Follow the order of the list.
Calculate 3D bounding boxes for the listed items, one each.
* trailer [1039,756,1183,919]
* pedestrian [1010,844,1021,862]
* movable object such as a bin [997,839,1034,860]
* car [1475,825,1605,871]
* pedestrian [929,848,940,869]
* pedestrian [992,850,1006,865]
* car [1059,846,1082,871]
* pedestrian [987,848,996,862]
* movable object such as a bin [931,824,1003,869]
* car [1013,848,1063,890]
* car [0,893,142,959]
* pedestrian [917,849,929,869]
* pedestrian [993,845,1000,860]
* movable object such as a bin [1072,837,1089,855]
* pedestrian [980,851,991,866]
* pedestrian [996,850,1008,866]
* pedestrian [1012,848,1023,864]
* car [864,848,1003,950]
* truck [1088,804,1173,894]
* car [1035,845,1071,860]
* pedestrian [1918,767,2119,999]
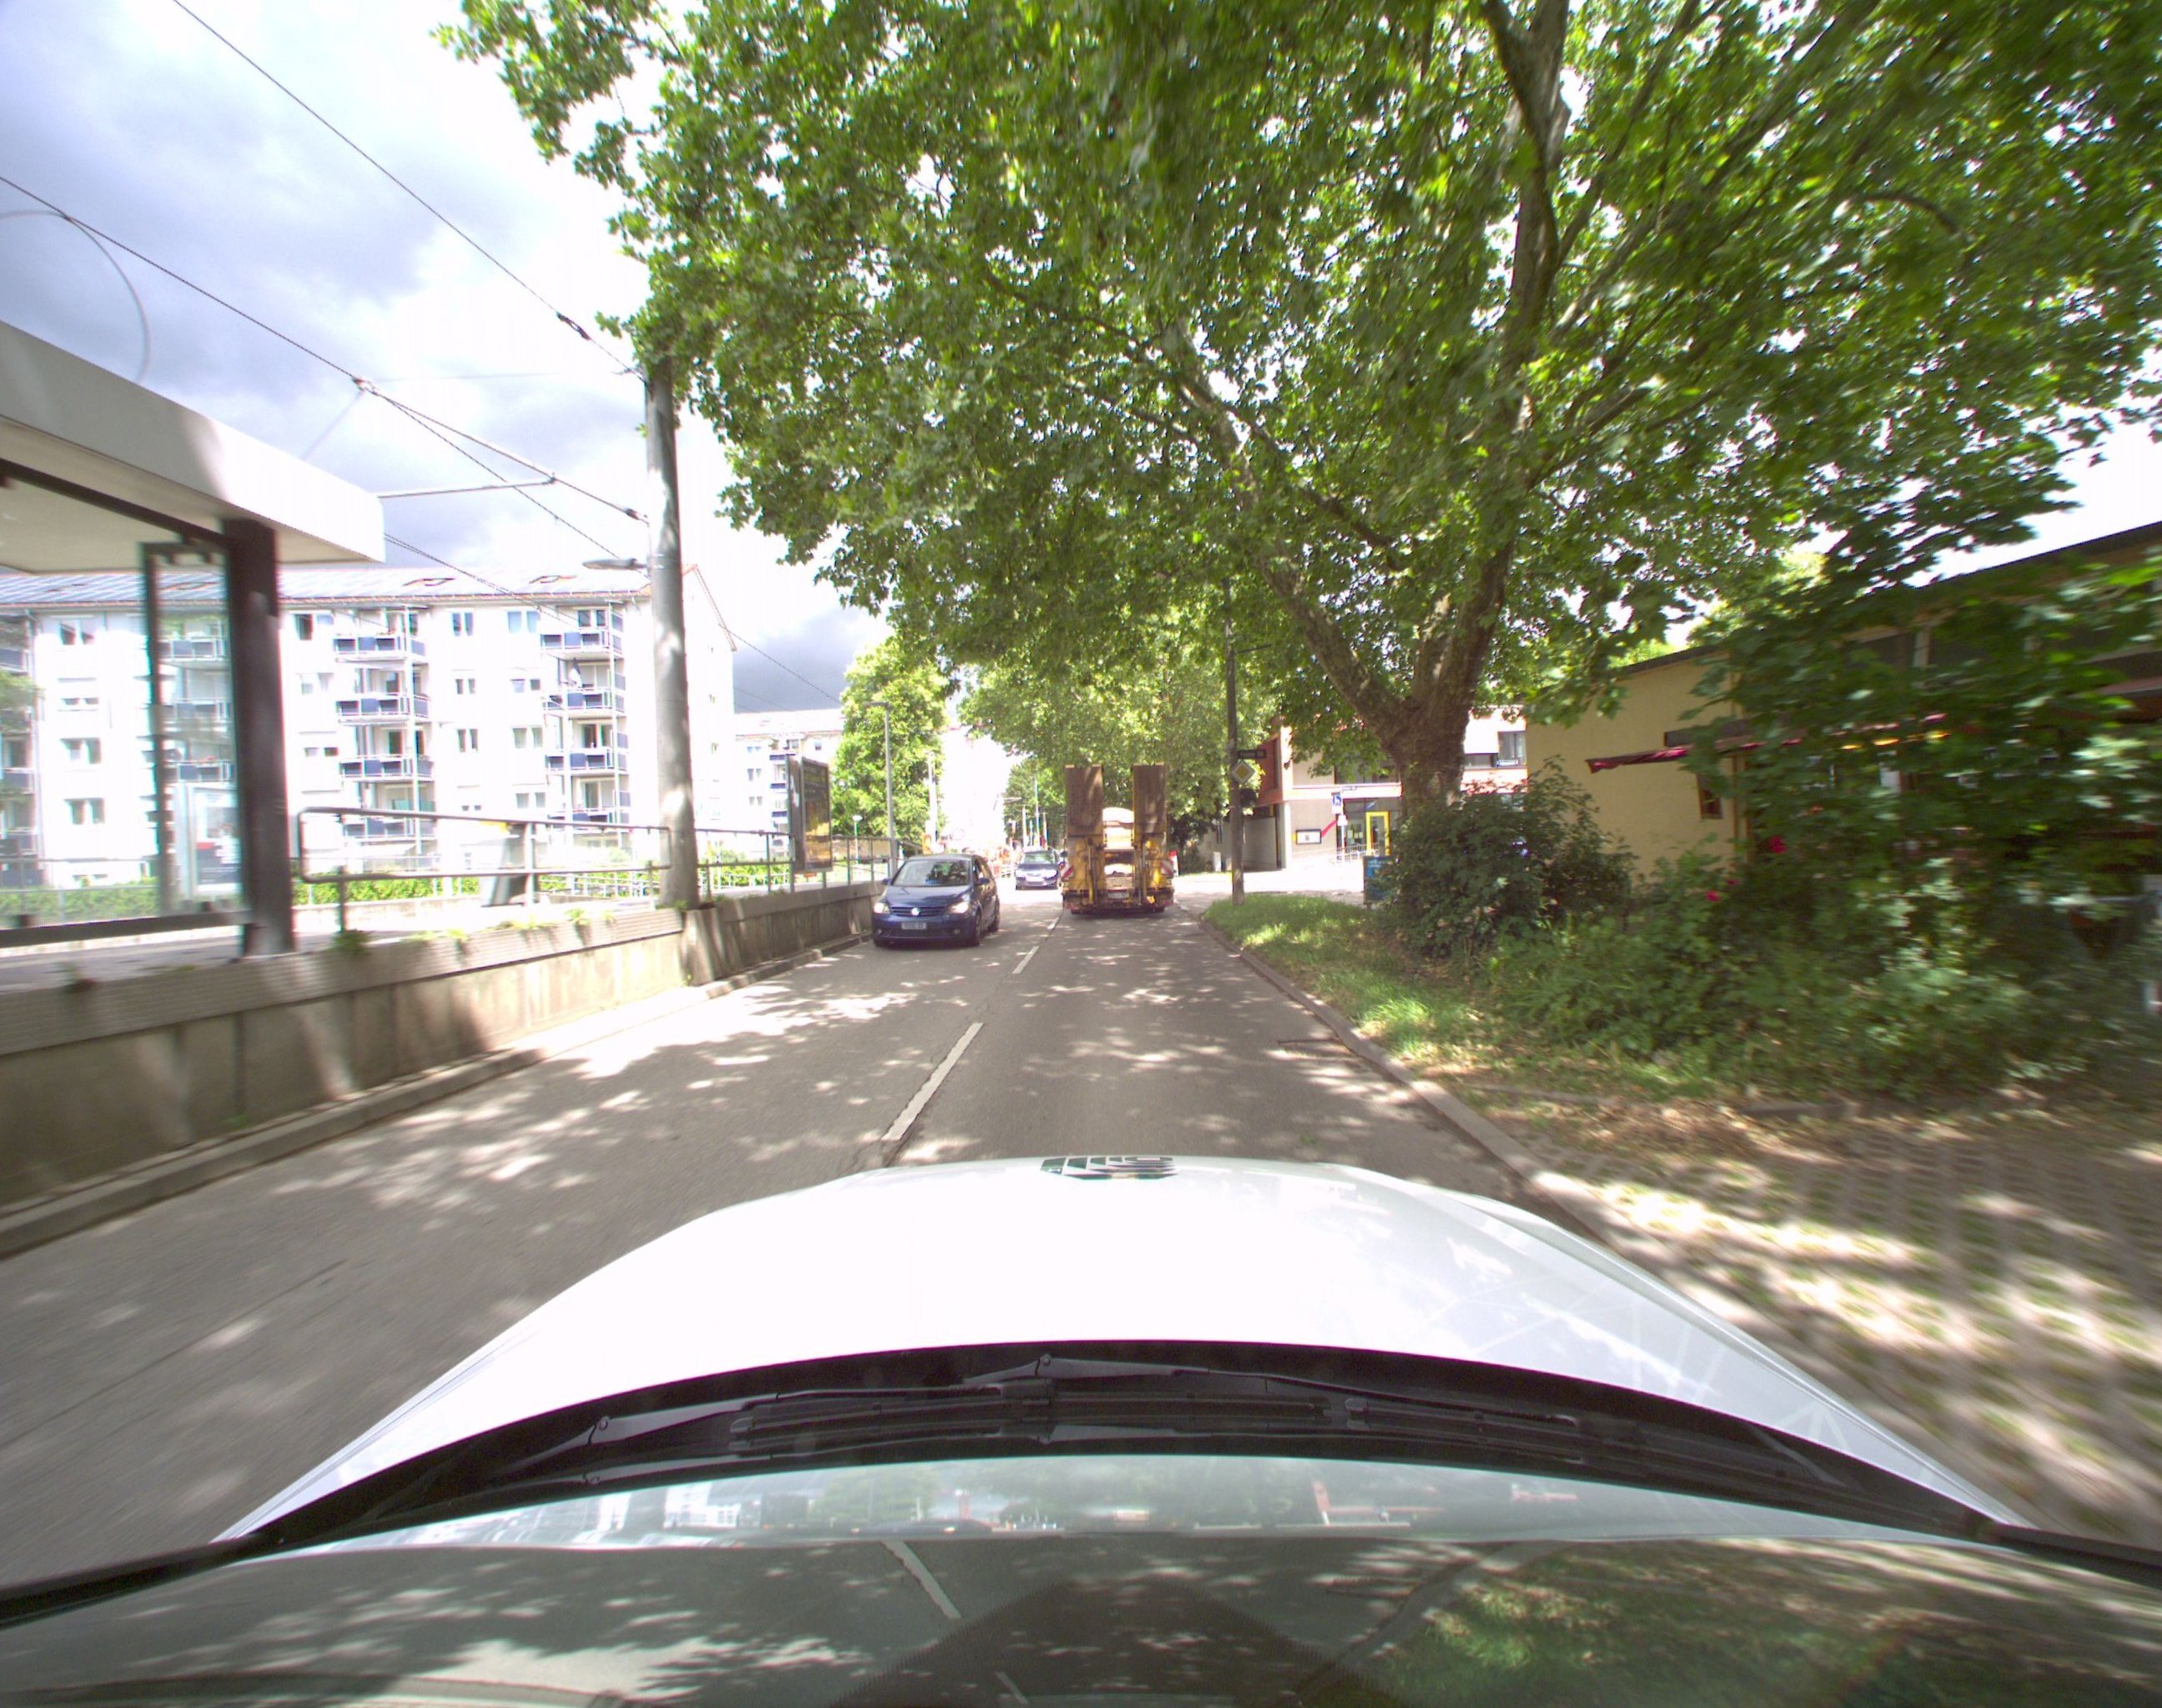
[{"bbox_3d":[1.171,-0.365,23.595,3.139,3.552,11.113,-1,0,5],"label":"trailer"},{"bbox_3d":[-7.200,-0.121,89.262,0.890,1.867,0.830,-1,0,-27],"label":"pedestrian"},{"bbox_3d":[-8.655,-0.596,107.782,4.325,2.629,2.234,-1,0,28],"label":"movable object such as a bin"},{"bbox_3d":[18.355,-0.239,32.662,4.225,1.604,1.889,-3,0,-7],"label":"car"},{"bbox_3d":[-12.085,0.376,67.388,0.697,1.718,0.867,-1,0,2],"label":"pedestrian"},{"bbox_3d":[-9.051,0.388,89.895,1.117,1.715,0.877,-1,0,-43],"label":"pedestrian"},{"bbox_3d":[-0.804,0.356,64.853,1.748,1.840,4.645,-2,-1,0],"label":"car"},{"bbox_3d":[-10.392,0.137,94.651,0.888,1.645,0.832,-1,0,-18],"label":"pedestrian"},{"bbox_3d":[-14.552,-0.881,103.368,9.115,5.414,2.680,-1,0,28],"label":"movable object such as a bin"},{"bbox_3d":[-1.756,0.586,34.363,1.747,1.633,4.120,0,0,1],"label":"car"},{"bbox_3d":[-29.084,1.995,22.312,1.886,1.552,4.004,-3,0,4],"label":"car"},{"bbox_3d":[-12.990,0.430,67.001,0.729,1.625,0.867,-2,0,2],"label":"pedestrian"},{"bbox_3d":[-10.738,-0.179,103.884,0.834,1.867,0.885,-1,0,-10],"label":"pedestrian"},{"bbox_3d":[0.003,-0.947,94.777,1.389,2.013,2.565,-1,0,13],"label":"movable object such as a bin"},{"bbox_3d":[-10.678,0.511,91.262,0.891,1.645,0.891,-1,0,-29],"label":"pedestrian"},{"bbox_3d":[-8.522,0.415,87.865,0.877,1.760,0.842,-1,0,22],"label":"pedestrian"},{"bbox_3d":[-7.197,0.217,92.137,0.877,1.867,0.842,-1,0,30],"label":"pedestrian"},{"bbox_3d":[-2.518,0.719,14.795,1.690,1.564,3.862,-1,0,1],"label":"car"},{"bbox_3d":[2.137,-0.189,33.030,2.974,3.135,7.900,-1,0,6],"label":"truck"},{"bbox_3d":[-4.171,-0.222,119.973,5.094,2.102,1.968,0,0,-13],"label":"car"},{"bbox_3d":[7.283,0.212,6.366,0.621,1.676,0.772,-2,0,2],"label":"pedestrian"}]
